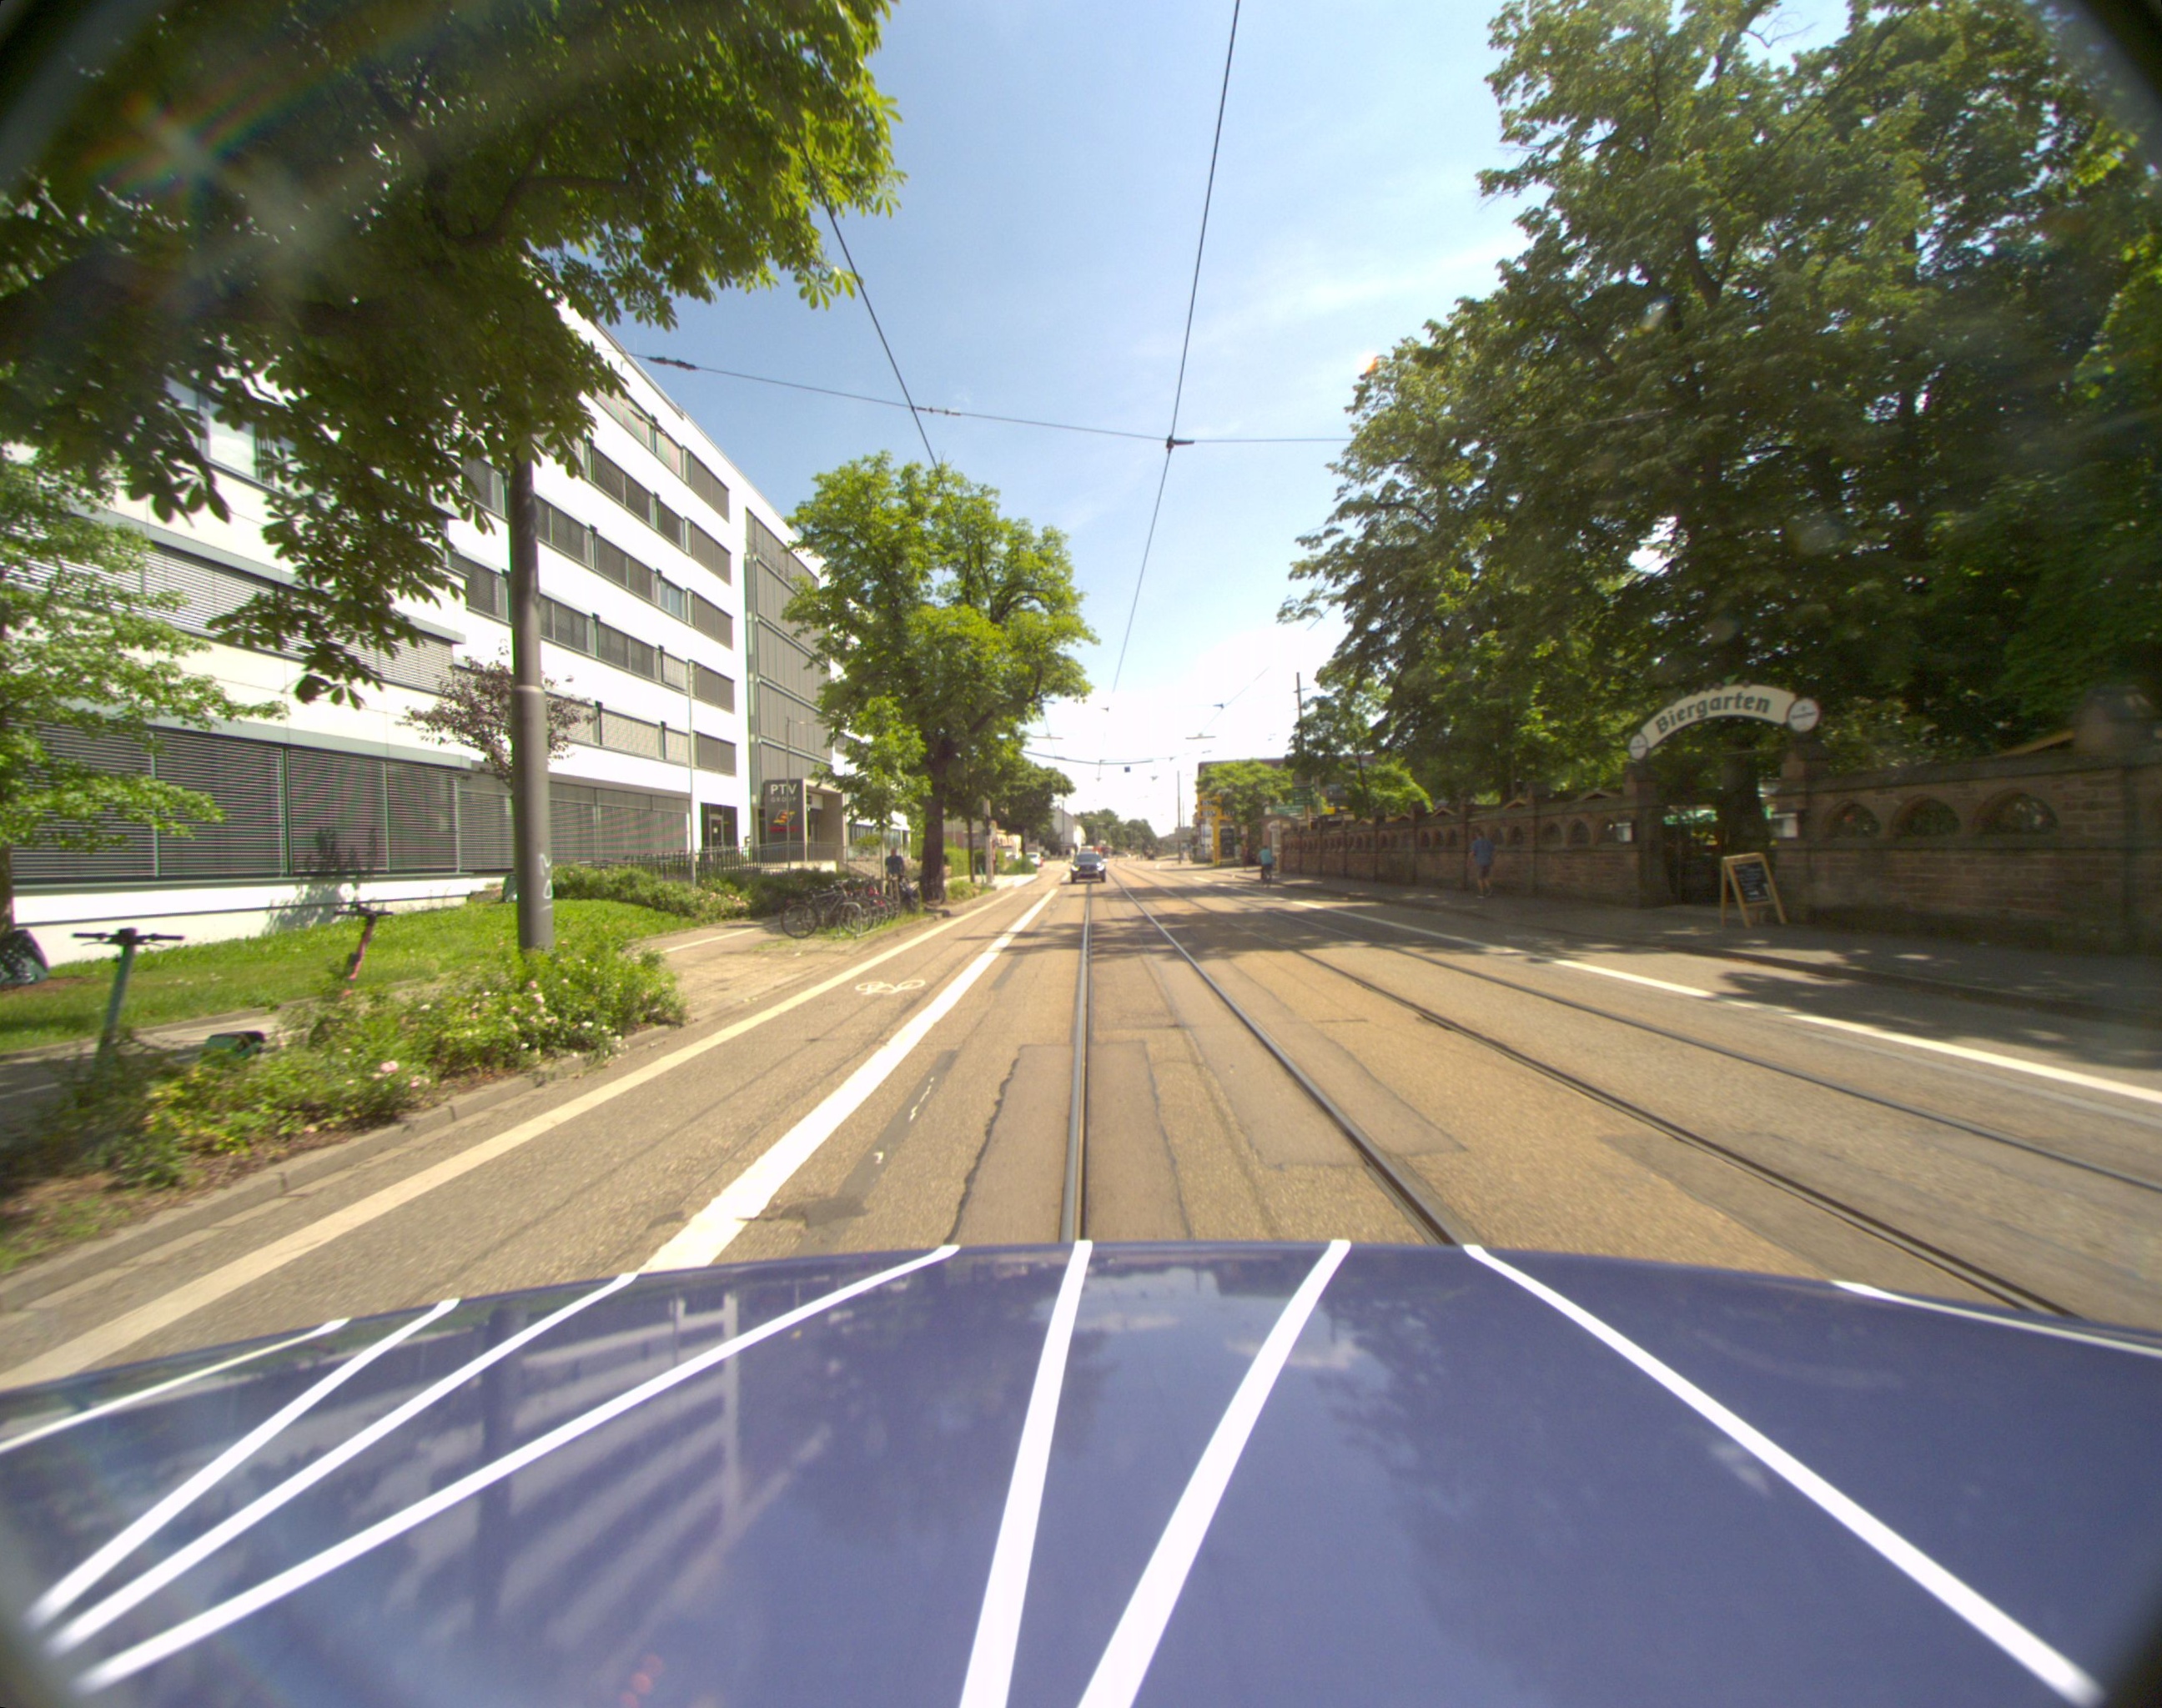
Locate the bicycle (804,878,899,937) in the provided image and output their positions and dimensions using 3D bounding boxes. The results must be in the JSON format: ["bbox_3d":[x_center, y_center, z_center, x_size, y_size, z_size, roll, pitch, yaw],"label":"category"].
[{"bbox_3d":[-4.889,1.132,16.268,1.812,1.105,0.569,-3,1,-2],"label":"bicycle"}]

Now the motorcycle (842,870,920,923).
[{"bbox_3d":[-5.148,1.076,19.667,1.819,1.269,0.720,-2,1,-7],"label":"motorcycle"}]

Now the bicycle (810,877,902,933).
[{"bbox_3d":[-4.982,1.124,16.867,1.812,1.105,0.569,-3,1,-2],"label":"bicycle"}]

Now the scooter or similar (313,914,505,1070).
[{"bbox_3d":[-6.179,1.219,7.089,0.541,1.201,1.385,0,1,1],"label":"scooter or similar"}]

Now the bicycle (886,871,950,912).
[{"bbox_3d":[-4.935,1.133,23.110,1.819,1.158,0.710,-2,1,-7],"label":"bicycle"}]

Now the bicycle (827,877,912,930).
[{"bbox_3d":[-5.017,1.164,18.073,1.812,1.105,0.569,-3,1,-2],"label":"bicycle"}]

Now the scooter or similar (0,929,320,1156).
[{"bbox_3d":[-6.198,1.192,5.213,0.541,1.201,1.385,0,1,1],"label":"scooter or similar"}]

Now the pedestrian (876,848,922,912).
[{"bbox_3d":[-5.353,0.747,22.326,0.986,1.822,0.786,-3,1,-42],"label":"pedestrian"}]

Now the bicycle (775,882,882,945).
[{"bbox_3d":[-4.953,1.157,14.956,1.846,1.105,0.569,-3,1,-2],"label":"bicycle"}]

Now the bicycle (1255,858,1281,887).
[{"bbox_3d":[7.819,0.748,31.833,0.661,1.156,1.895,0,0,1],"label":"bicycle"}]

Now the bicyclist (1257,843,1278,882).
[{"bbox_3d":[7.823,0.356,31.934,0.665,1.616,0.919,1,1,1],"label":"bicyclist"}]

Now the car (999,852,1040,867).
[{"bbox_3d":[-7.997,0.673,99.541,5.214,1.732,1.999,-3,1,-3],"label":"car"}]

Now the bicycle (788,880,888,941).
[{"bbox_3d":[-4.972,1.148,15.618,1.812,1.105,0.569,-3,1,-2],"label":"bicycle"}]

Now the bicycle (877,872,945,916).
[{"bbox_3d":[-4.862,1.137,21.803,1.819,1.158,0.710,-2,1,-7],"label":"bicycle"}]

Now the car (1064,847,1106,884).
[{"bbox_3d":[0.230,0.565,40.190,1.998,1.732,4.227,-3,0,1],"label":"car"}]

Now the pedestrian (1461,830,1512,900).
[{"bbox_3d":[10.533,0.279,19.756,0.750,1.738,0.919,-4,1,1],"label":"pedestrian"}]
